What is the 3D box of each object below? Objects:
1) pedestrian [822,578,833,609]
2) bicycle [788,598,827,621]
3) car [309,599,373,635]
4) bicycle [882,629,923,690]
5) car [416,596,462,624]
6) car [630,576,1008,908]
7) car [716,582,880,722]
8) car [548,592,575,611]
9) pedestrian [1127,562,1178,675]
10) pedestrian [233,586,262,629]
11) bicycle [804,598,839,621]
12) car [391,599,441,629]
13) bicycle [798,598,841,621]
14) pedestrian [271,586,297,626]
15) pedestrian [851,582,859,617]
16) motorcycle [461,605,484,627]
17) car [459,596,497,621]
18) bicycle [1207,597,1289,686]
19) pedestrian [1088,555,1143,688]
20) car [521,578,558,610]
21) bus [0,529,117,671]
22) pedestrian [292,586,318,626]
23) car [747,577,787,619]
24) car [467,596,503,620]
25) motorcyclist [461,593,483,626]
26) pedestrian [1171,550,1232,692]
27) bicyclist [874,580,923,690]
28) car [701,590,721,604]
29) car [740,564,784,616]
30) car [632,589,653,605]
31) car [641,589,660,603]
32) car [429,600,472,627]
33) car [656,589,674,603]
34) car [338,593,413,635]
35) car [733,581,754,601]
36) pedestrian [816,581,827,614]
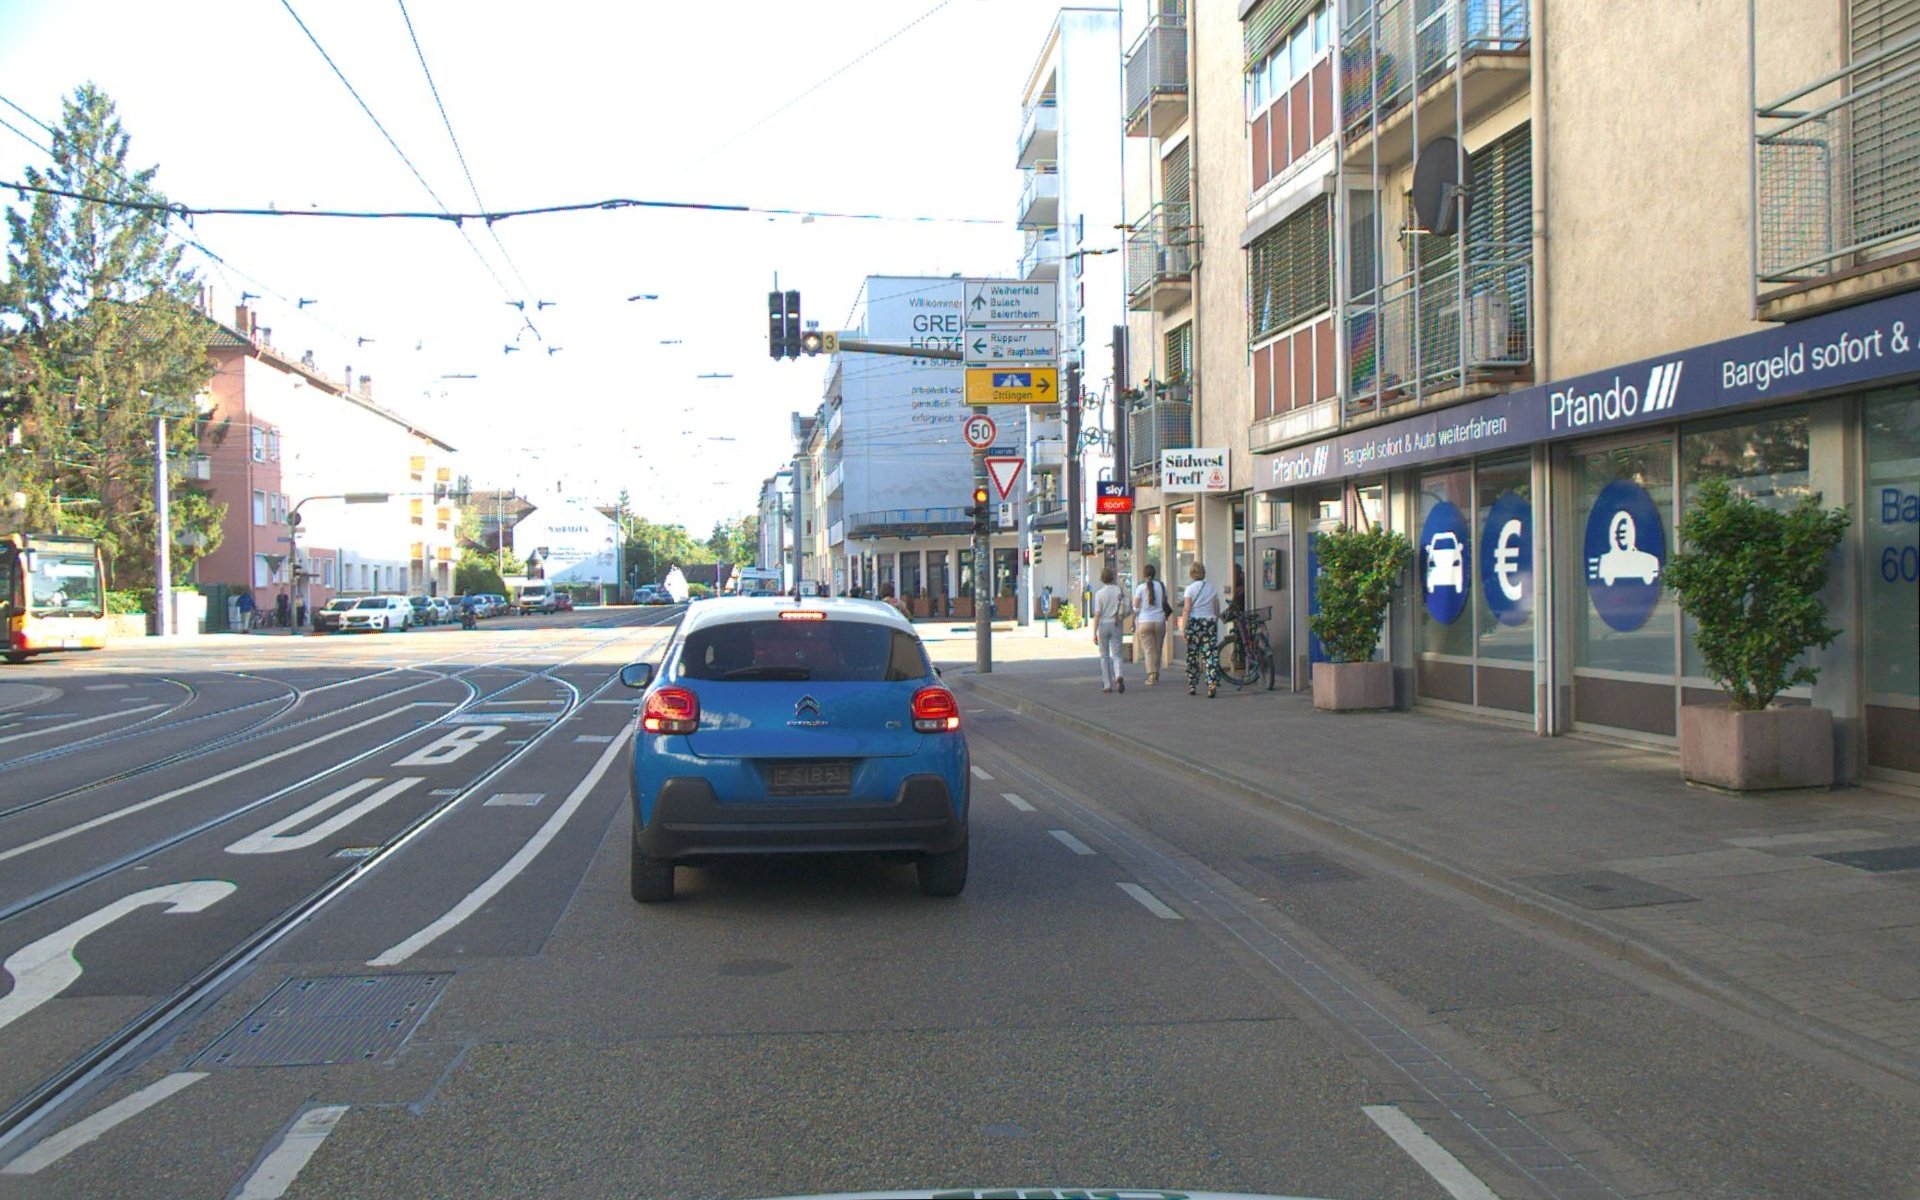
[{"bbox_3d":[-6.900,-0.344,86.114,0.483,1.583,0.646,-1,0,-14],"label":"pedestrian"},{"bbox_3d":[-6.762,0.408,73.524,1.686,0.973,0.701,-1,0,-3],"label":"bicycle"},{"bbox_3d":[-26.986,0.738,72.213,1.876,1.458,3.990,-1,1,-10],"label":"car"},{"bbox_3d":[-0.920,0.921,26.196,0.489,0.879,1.746,-1,1,-7],"label":"bicycle"},{"bbox_3d":[-29.989,0.541,95.290,1.875,1.523,3.992,-1,1,-9],"label":"car"},{"bbox_3d":[-1.019,0.629,9.571,1.713,1.488,3.988,0,0,-12],"label":"car"},{"bbox_3d":[-1.867,0.523,19.397,1.704,1.445,3.996,-1,1,-5],"label":"car"},{"bbox_3d":[-35.527,0.120,147.558,1.984,1.552,3.992,-1,1,-9],"label":"car"},{"bbox_3d":[2.693,0.249,23.158,0.531,1.534,0.610,-3,2,-7],"label":"pedestrian"},{"bbox_3d":[-28.561,0.292,66.298,0.827,1.720,0.737,-1,0,-2],"label":"pedestrian"},{"bbox_3d":[-5.964,0.408,71.168,1.474,0.973,0.701,-1,0,-3],"label":"bicycle"},{"bbox_3d":[-29.299,0.722,89.194,1.875,1.523,3.992,-1,1,-9],"label":"car"},{"bbox_3d":[-6.139,0.406,72.215,1.836,0.973,0.701,-1,0,-3],"label":"bicycle"},{"bbox_3d":[-29.363,0.249,71.819,0.827,1.720,0.737,-1,0,-2],"label":"pedestrian"},{"bbox_3d":[-4.784,-0.009,75.424,0.279,1.583,0.304,-1,0,-13],"label":"pedestrian"},{"bbox_3d":[-20.978,0.685,71.174,0.603,0.879,1.669,-1,1,-5],"label":"motorcycle"},{"bbox_3d":[-31.784,0.537,109.151,1.875,1.523,3.992,-1,1,-9],"label":"car"},{"bbox_3d":[3.761,0.522,21.695,0.520,1.091,1.808,-1,0,-8],"label":"bicycle"},{"bbox_3d":[2.047,0.273,21.803,0.531,1.701,0.623,-3,2,-7],"label":"pedestrian"},{"bbox_3d":[-31.119,-0.428,122.475,2.166,2.290,4.668,-1,1,-8],"label":"car"},{"bbox_3d":[-25.684,0.059,40.162,9.945,3.213,2.733,-1,0,15],"label":"bus"},{"bbox_3d":[-28.513,0.249,72.001,0.827,1.720,0.737,-1,0,-2],"label":"pedestrian"},{"bbox_3d":[-8.466,-0.094,72.493,1.700,1.780,3.208,0,0,-8],"label":"car"},{"bbox_3d":[-32.740,0.534,114.069,1.875,1.523,3.992,-1,1,-9],"label":"car"},{"bbox_3d":[-20.960,0.393,71.020,0.705,1.402,0.910,-1,0,-5],"label":"motorcyclist"},{"bbox_3d":[2.986,0.256,20.491,0.531,1.701,0.649,-3,1,-7],"label":"pedestrian"},{"bbox_3d":[-0.963,0.534,25.783,0.712,1.674,0.789,-1,0,-5],"label":"bicyclist"},{"bbox_3d":[-23.550,-0.303,156.301,1.724,1.281,3.821,-1,1,-11],"label":"car"},{"bbox_3d":[-9.289,-0.452,77.351,1.956,2.366,3.993,0,0,-8],"label":"car"},{"bbox_3d":[-33.077,-0.304,172.548,1.984,1.552,3.992,-1,1,-9],"label":"car"},{"bbox_3d":[-35.574,-0.504,189.995,1.984,1.552,3.992,-1,1,-9],"label":"car"},{"bbox_3d":[-31.023,0.805,100.789,1.875,1.523,3.992,-1,1,-9],"label":"car"},{"bbox_3d":[-38.942,-0.532,218.273,1.960,1.713,3.985,-1,1,-14],"label":"car"},{"bbox_3d":[-23.760,0.543,67.406,1.814,1.601,4.396,-1,0,-5],"label":"car"},{"bbox_3d":[-17.749,-0.720,135.756,1.657,1.646,3.994,0,0,-7],"label":"car"},{"bbox_3d":[-6.703,-0.127,79.797,0.482,1.583,0.383,-1,0,-8],"label":"pedestrian"}]
